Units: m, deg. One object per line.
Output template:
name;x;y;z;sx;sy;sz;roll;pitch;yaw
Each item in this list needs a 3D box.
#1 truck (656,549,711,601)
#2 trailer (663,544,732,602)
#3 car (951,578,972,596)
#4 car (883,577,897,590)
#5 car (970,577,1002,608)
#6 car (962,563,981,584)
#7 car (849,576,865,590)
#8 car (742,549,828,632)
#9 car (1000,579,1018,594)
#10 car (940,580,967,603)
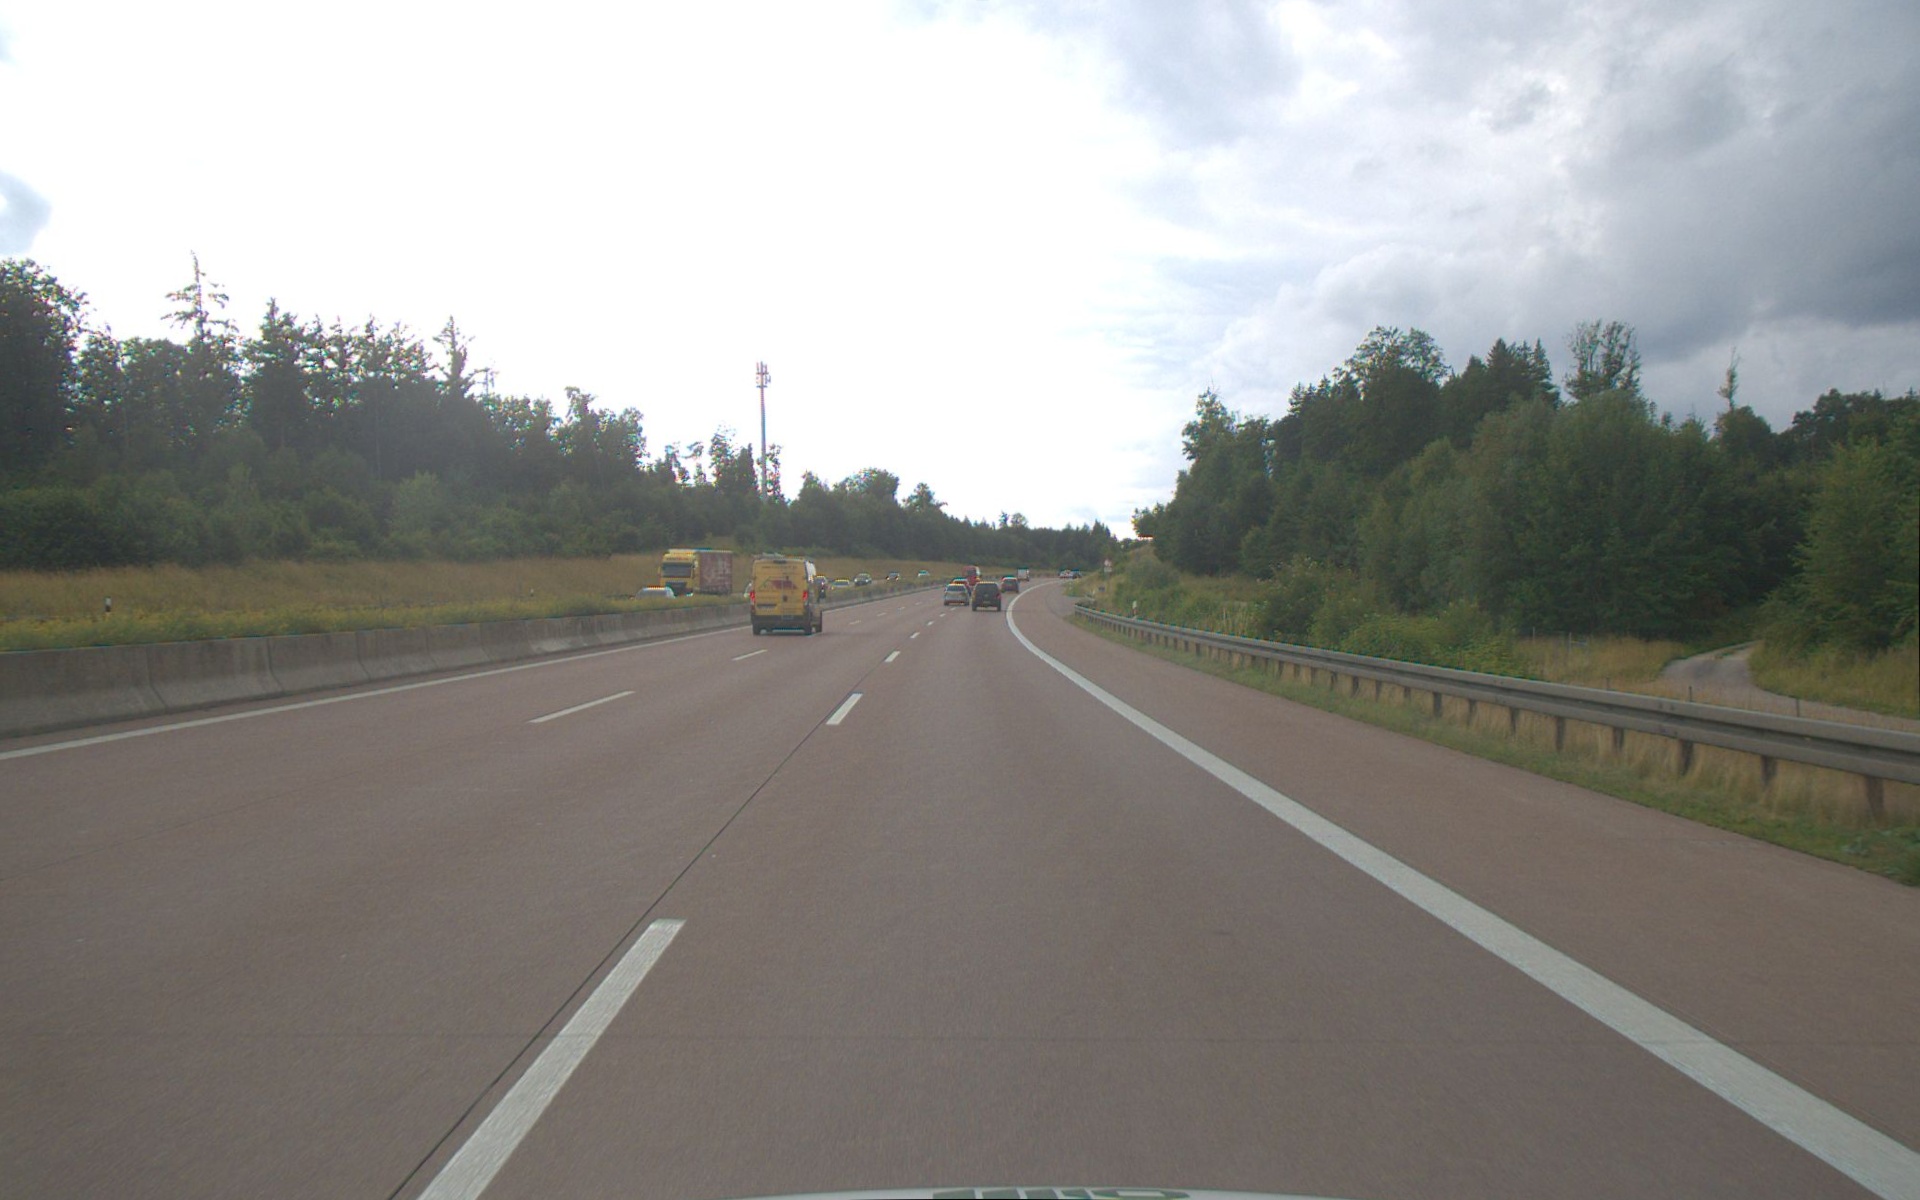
truck;-20.465;-1.833;122.789;2.950;3.645;6.057;1;-1;1
trailer;-20.446;-1.989;129.842;2.971;4.112;14.530;1;-1;0
car;0.151;-1.294;161.392;1.937;1.677;4.619;0;0;1
car;-10.526;-2.465;247.599;1.769;1.847;4.002;0;1;2
car;1.689;-0.444;106.916;2.002;1.930;5.578;0;0;1
car;1.484;-3.386;211.078;2.194;2.472;6.206;2;0;2
car;-13.227;-2.167;212.641;1.726;1.667;4.380;1;-1;0
car;-6.070;-0.304;58.114;2.408;2.753;5.613;0;0;0
car;5.408;-1.483;182.530;1.937;1.677;4.619;0;0;1
car;-0.489;-0.609;123.492;1.937;1.677;4.619;0;0;0
